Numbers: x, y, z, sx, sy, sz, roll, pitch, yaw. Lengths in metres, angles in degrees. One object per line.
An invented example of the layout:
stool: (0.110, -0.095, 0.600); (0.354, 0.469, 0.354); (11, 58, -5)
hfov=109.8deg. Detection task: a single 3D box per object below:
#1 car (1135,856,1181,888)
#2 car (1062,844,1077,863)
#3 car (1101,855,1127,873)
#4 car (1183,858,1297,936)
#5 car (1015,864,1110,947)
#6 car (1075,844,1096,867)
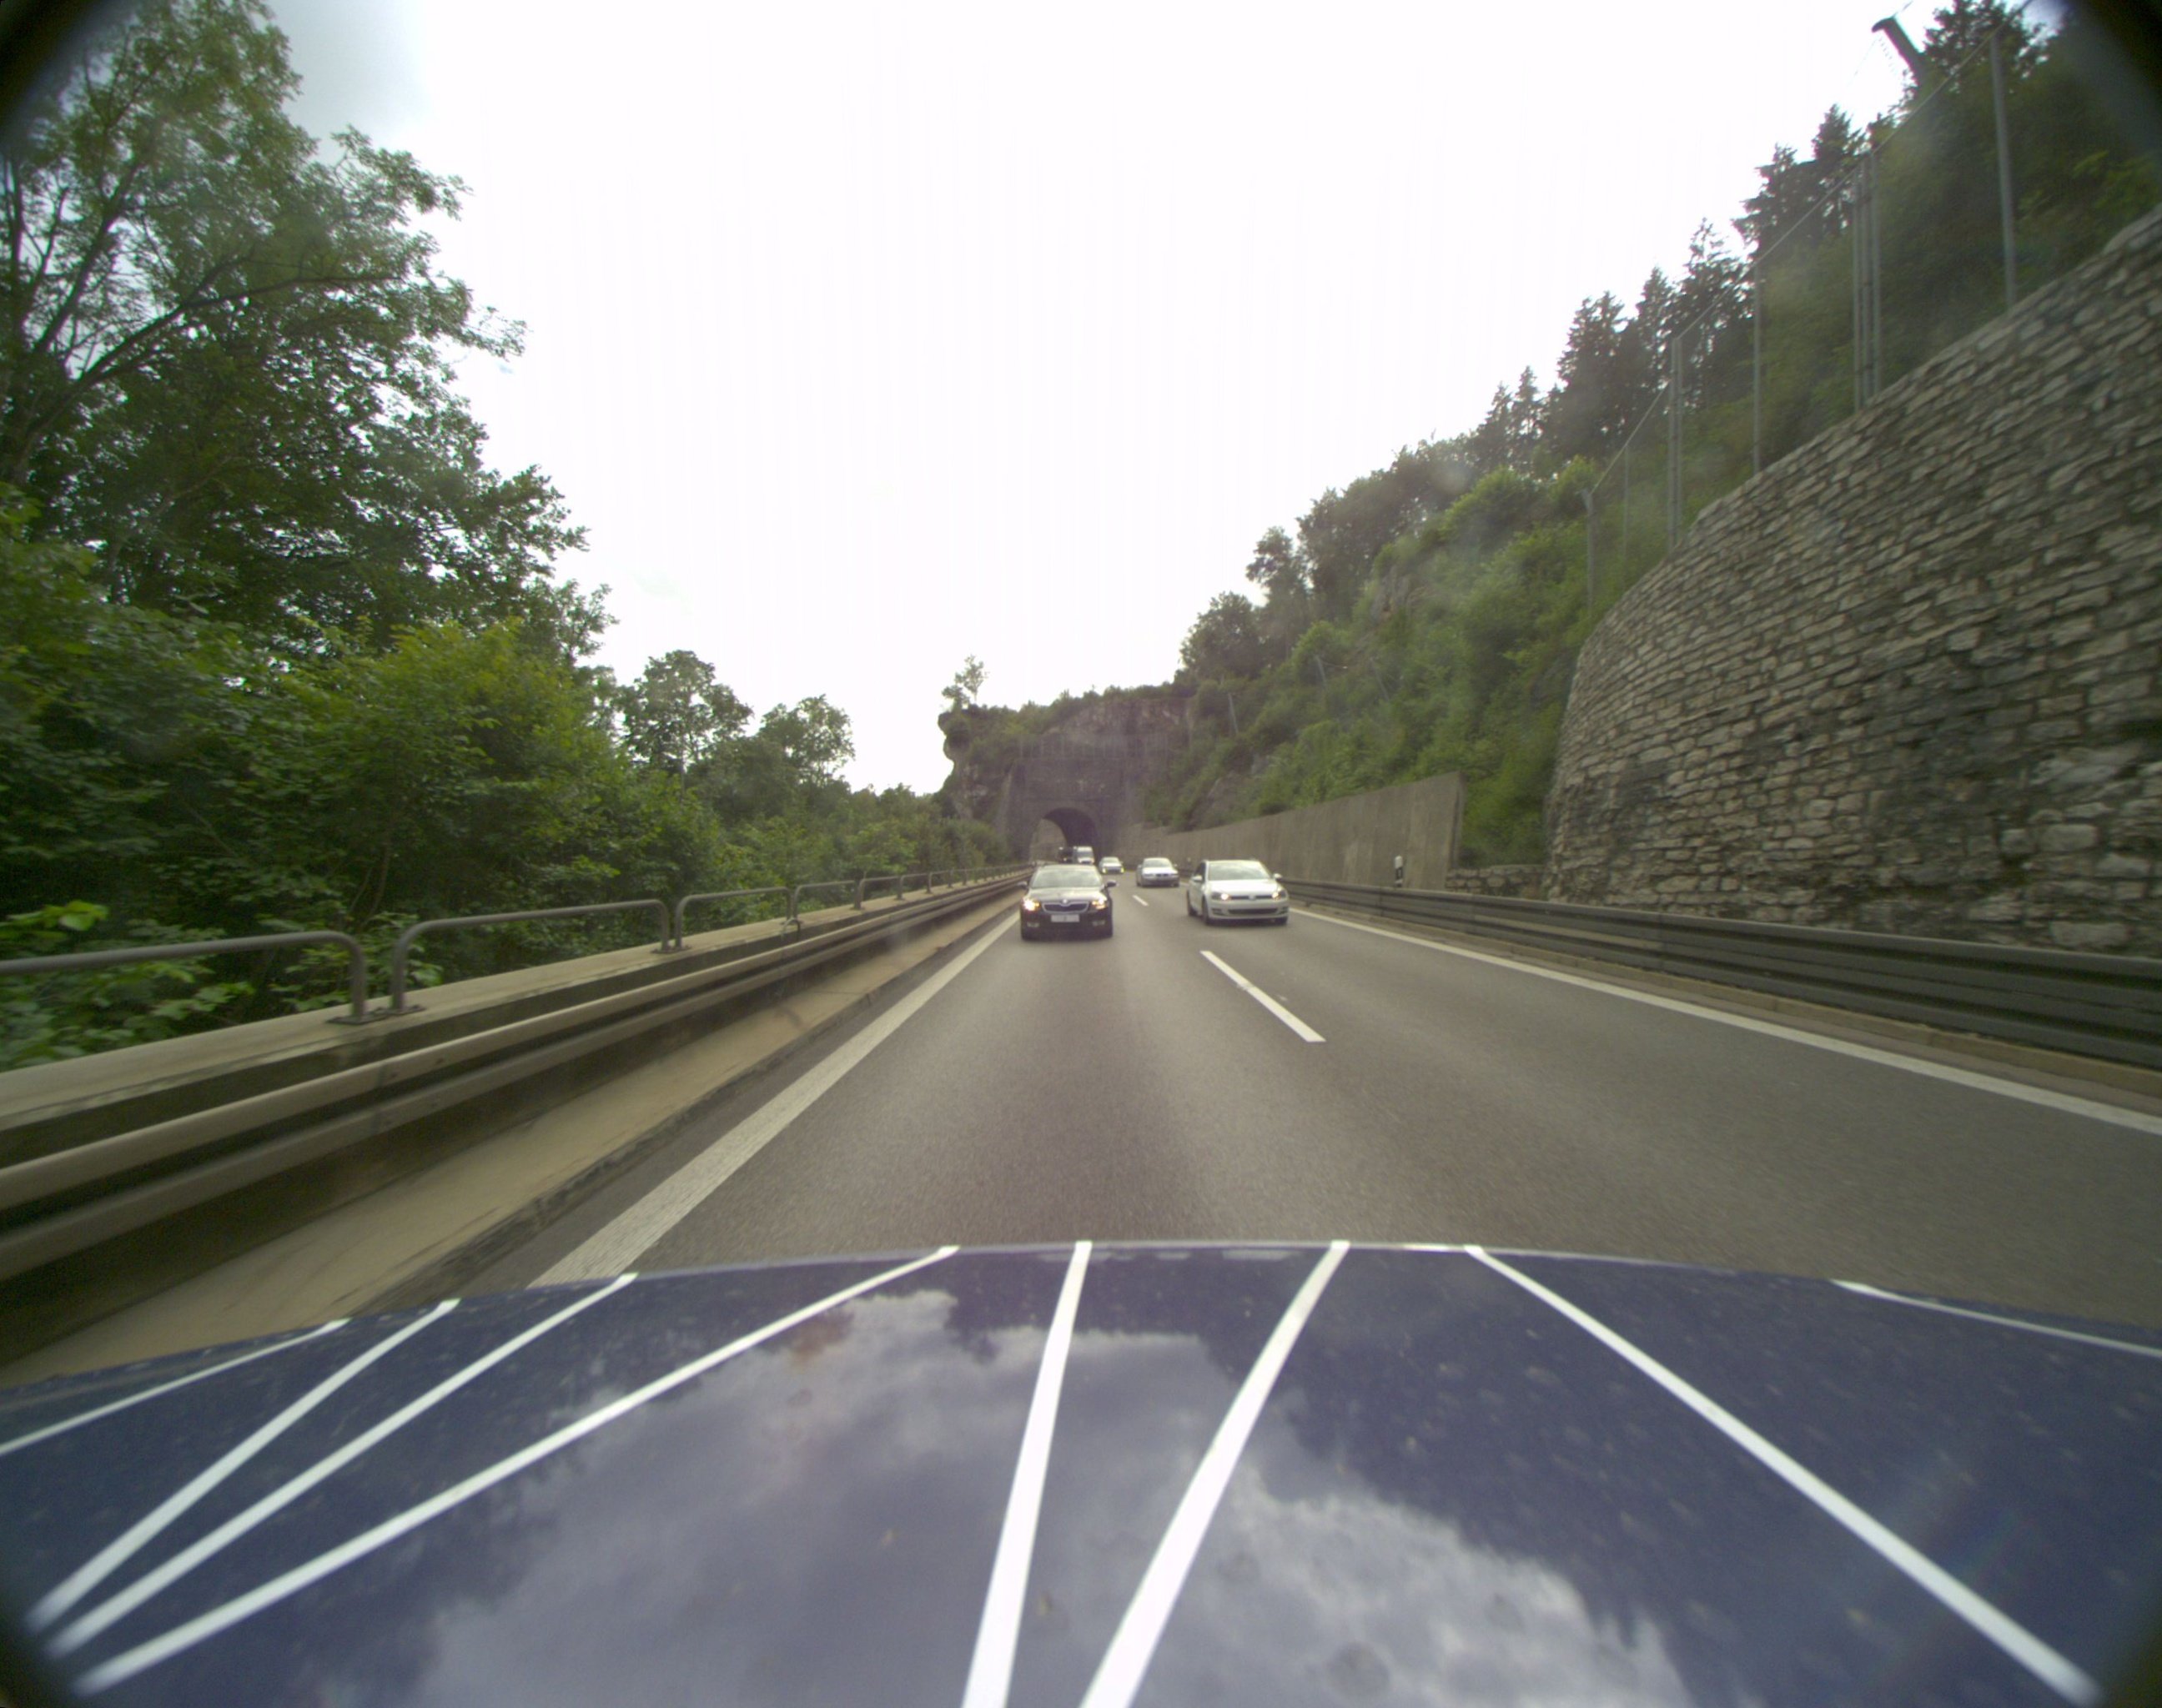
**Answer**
car: (3.854, 0.875, 38.951); (1.832, 1.448, 5.135); (-2, 0, 0)
car: (-1.594, -0.084, 105.021); (1.869, 2.444, 4.981); (-3, 2, -1)
car: (2.848, 0.876, 66.124); (1.923, 1.452, 4.230); (-2, 0, -2)
car: (3.563, 0.895, 17.841); (1.849, 1.473, 4.628); (-1, 1, 2)
car: (-0.299, 0.964, 16.071); (1.677, 1.418, 4.473); (-2, 0, 1)
car: (0.459, 0.125, 86.085); (1.869, 2.444, 4.980); (-3, 2, -5)
